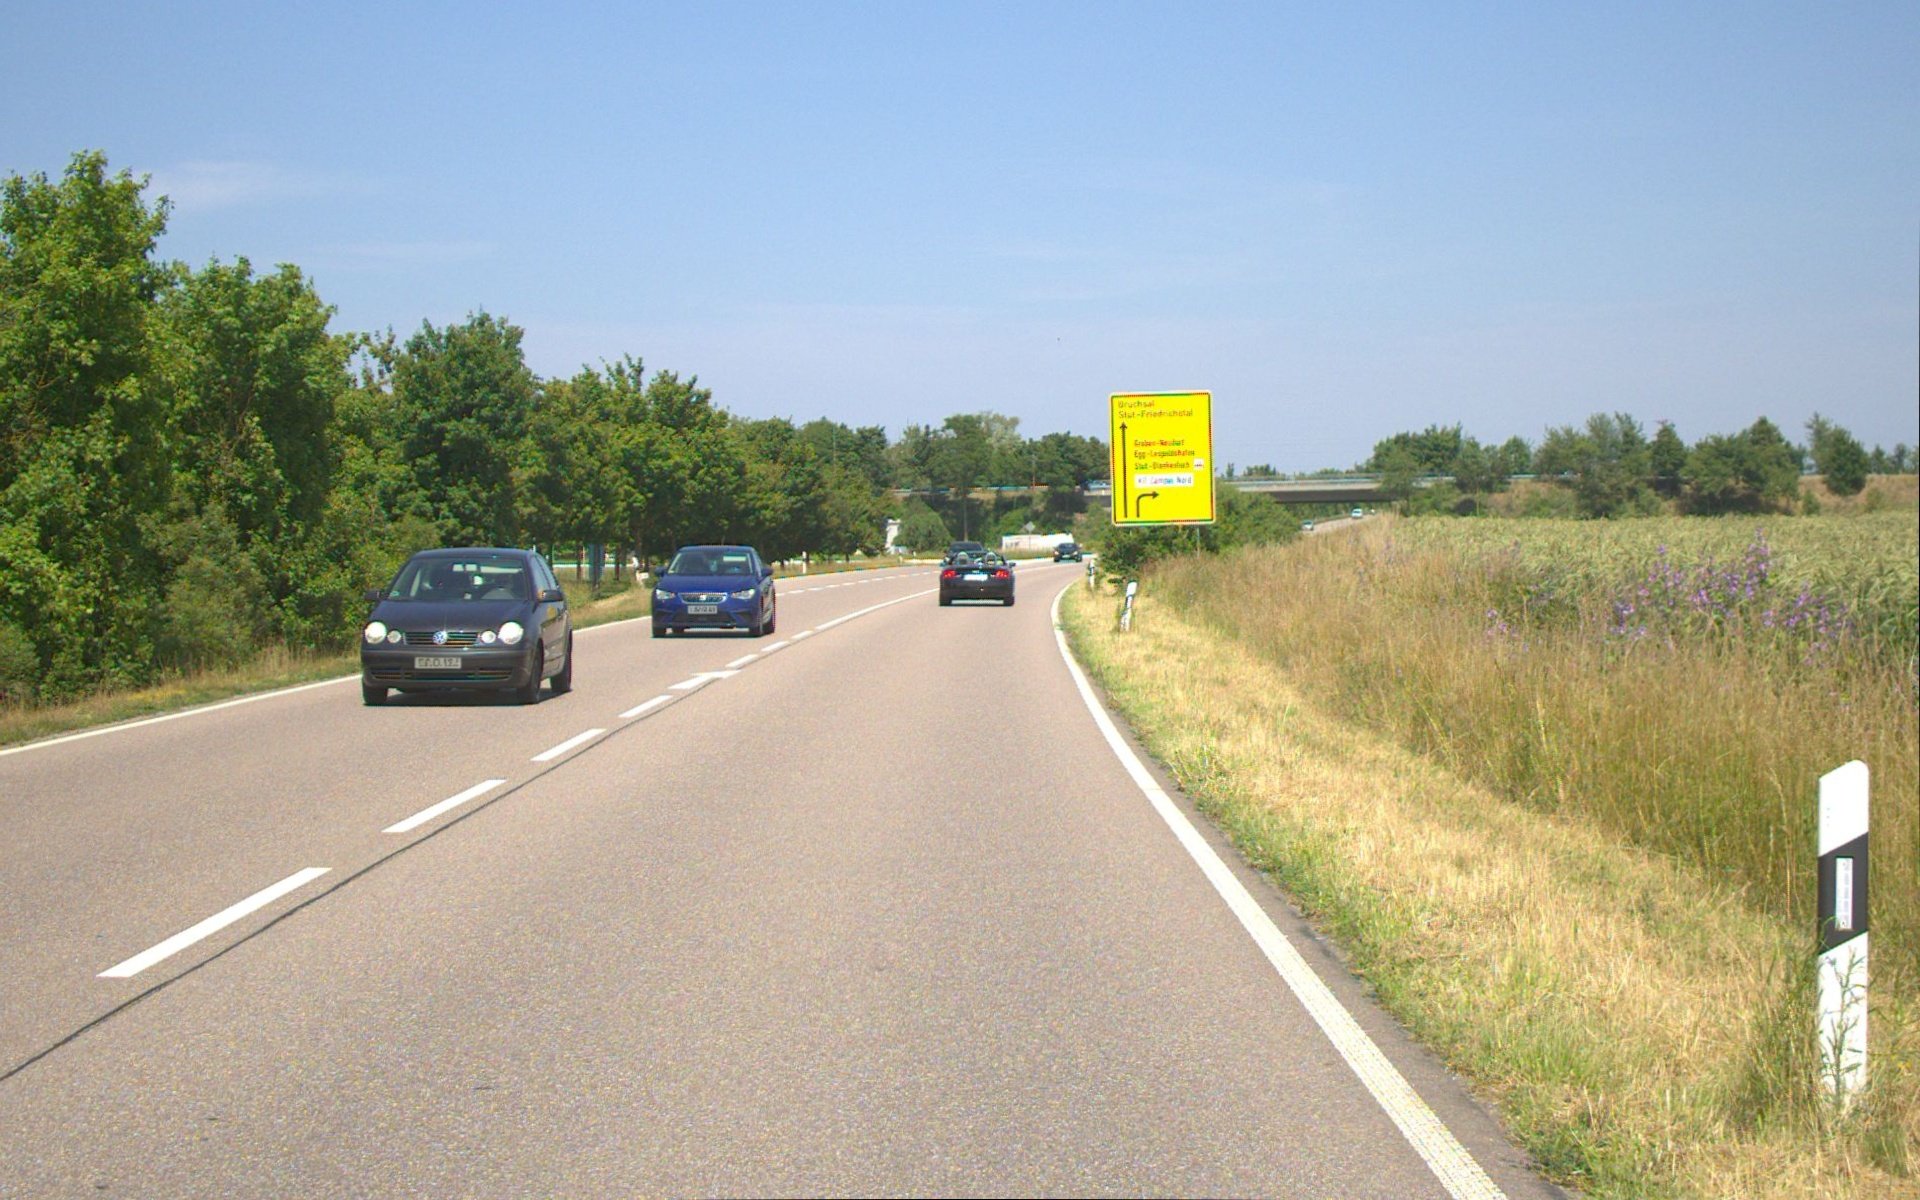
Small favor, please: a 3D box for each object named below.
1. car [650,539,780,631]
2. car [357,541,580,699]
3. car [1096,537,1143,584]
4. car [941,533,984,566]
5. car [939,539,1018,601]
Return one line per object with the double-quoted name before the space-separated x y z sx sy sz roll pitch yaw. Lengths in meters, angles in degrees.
"car" -3.897 -0.265 55.235 1.653 1.402 4.000 0 1 2
"car" -4.675 0.149 33.162 1.597 1.437 4.000 0 1 0
"car" 6.855 -1.697 148.388 1.747 2.007 4.000 1 0 -1
"car" 0.145 -2.255 153.329 1.781 1.415 4.534 0 1 2
"car" 0.464 -0.725 81.825 1.814 1.436 4.000 1 1 1
